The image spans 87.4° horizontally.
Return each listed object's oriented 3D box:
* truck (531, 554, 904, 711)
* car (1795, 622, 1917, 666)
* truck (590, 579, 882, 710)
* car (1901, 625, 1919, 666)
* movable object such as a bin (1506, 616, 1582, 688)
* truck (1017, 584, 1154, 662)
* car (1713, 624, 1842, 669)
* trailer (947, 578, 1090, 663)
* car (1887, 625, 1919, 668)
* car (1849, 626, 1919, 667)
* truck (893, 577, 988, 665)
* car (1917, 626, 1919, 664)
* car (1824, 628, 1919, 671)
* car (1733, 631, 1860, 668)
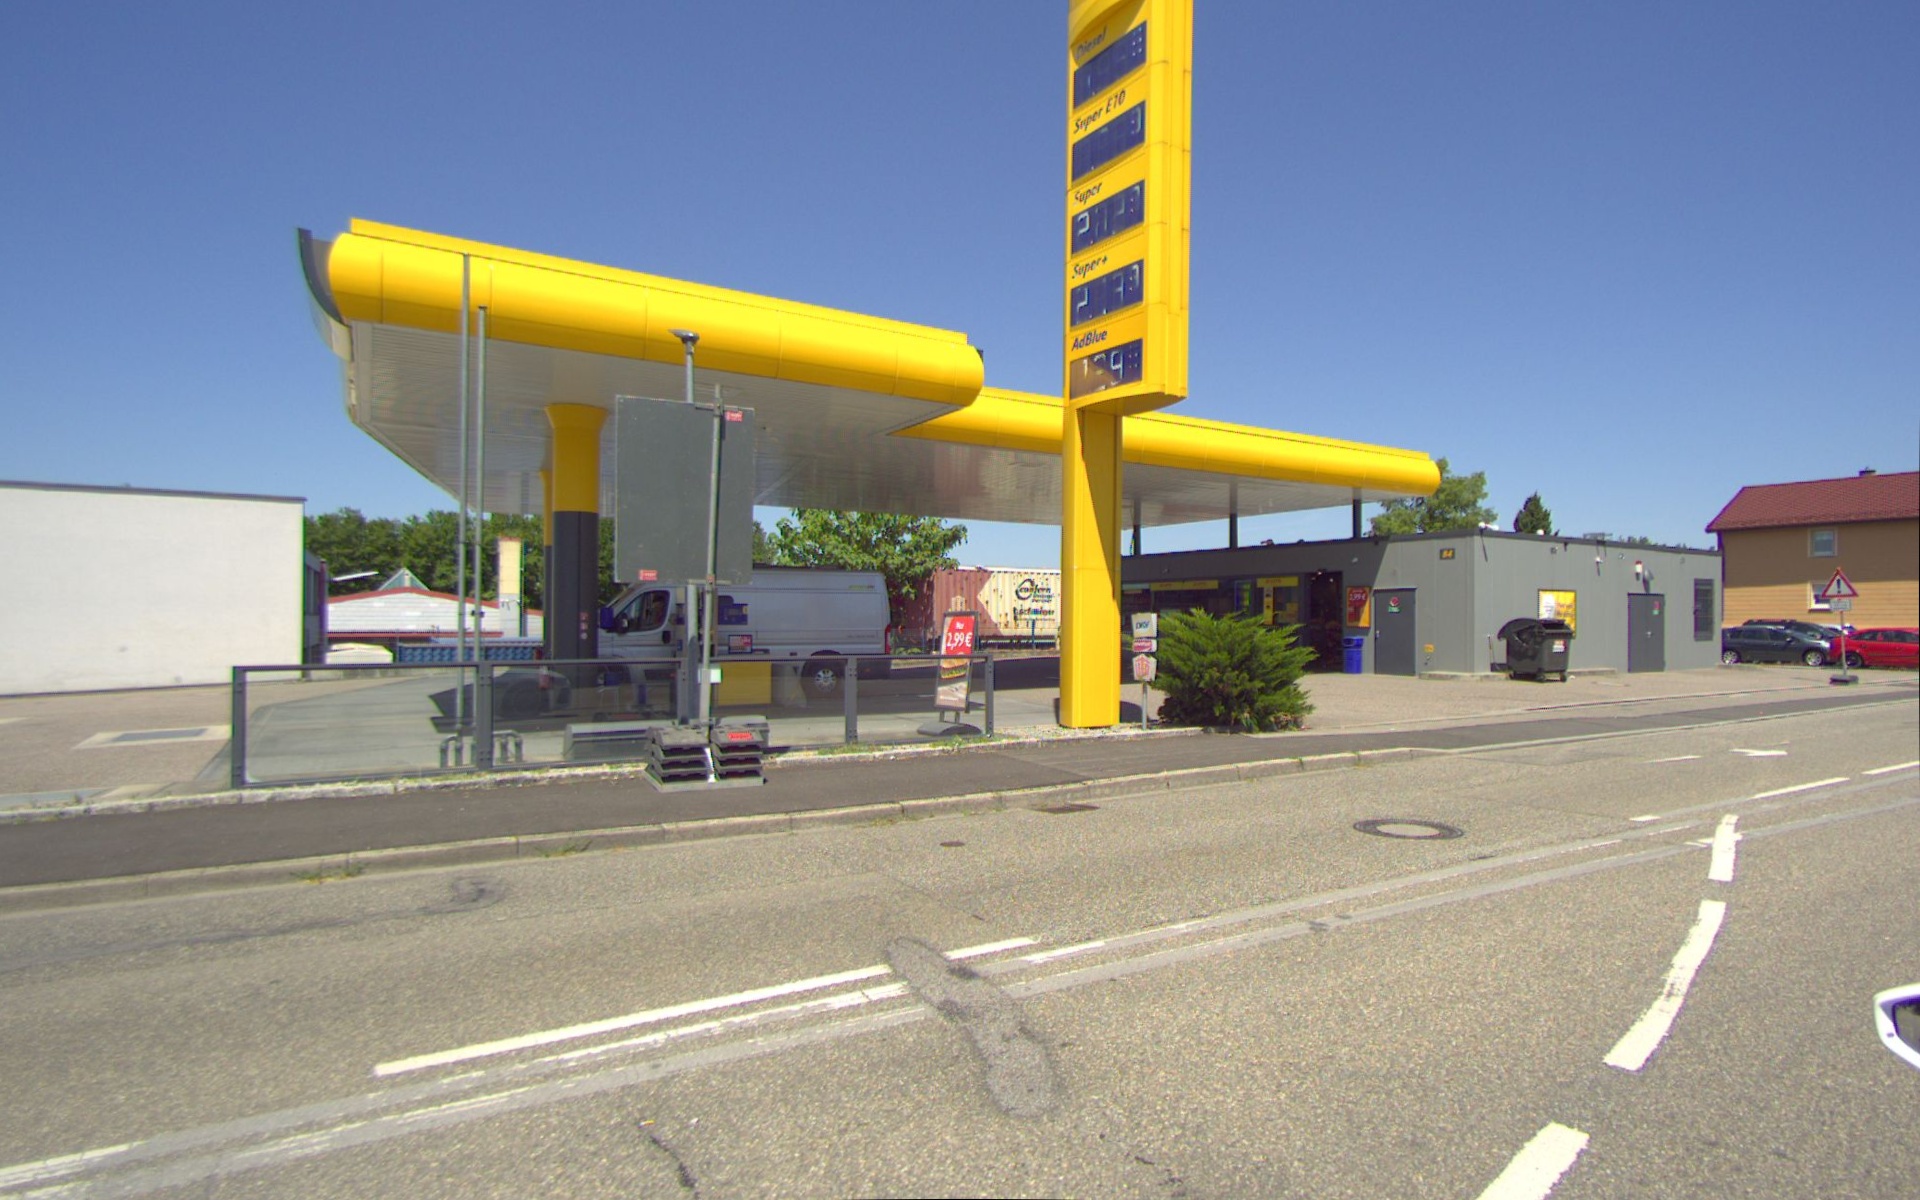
[{"bbox_3d":[-4.571,0.631,19.264,6.641,2.632,2.227,1,-2,-25],"label":"truck"},{"bbox_3d":[38.870,1.879,43.649,1.903,1.799,3.640,1,-2,-35],"label":"car"},{"bbox_3d":[-5.385,1.085,24.748,6.614,2.951,2.642,1,-2,-12],"label":"truck"},{"bbox_3d":[39.316,1.773,39.069,1.903,1.602,3.640,1,-2,-35],"label":"car"},{"bbox_3d":[13.658,1.188,23.506,1.412,1.538,0.946,-1,3,-32],"label":"movable object such as a bin"},{"bbox_3d":[5.966,1.154,49.056,2.132,3.471,7.825,1,-2,-33],"label":"truck"},{"bbox_3d":[32.608,1.827,40.143,1.874,1.732,3.640,1,-2,-35],"label":"car"},{"bbox_3d":[2.444,0.841,40.967,5.849,3.262,1.854,0,-1,-33],"label":"trailer"},{"bbox_3d":[37.555,1.756,37.800,1.863,1.626,3.640,1,-2,-35],"label":"car"},{"bbox_3d":[35.119,1.689,36.699,1.873,1.476,3.640,1,-2,-35],"label":"car"},{"bbox_3d":[-0.752,0.808,38.880,3.155,3.285,1.835,0,-1,-33],"label":"truck"},{"bbox_3d":[41.057,1.829,40.218,1.903,1.552,3.640,1,-2,-35],"label":"car"},{"bbox_3d":[33.300,1.722,35.312,1.807,1.463,4.102,1,-2,-33],"label":"car"},{"bbox_3d":[34.347,2.002,41.319,1.873,1.476,3.640,1,-2,-35],"label":"car"}]
